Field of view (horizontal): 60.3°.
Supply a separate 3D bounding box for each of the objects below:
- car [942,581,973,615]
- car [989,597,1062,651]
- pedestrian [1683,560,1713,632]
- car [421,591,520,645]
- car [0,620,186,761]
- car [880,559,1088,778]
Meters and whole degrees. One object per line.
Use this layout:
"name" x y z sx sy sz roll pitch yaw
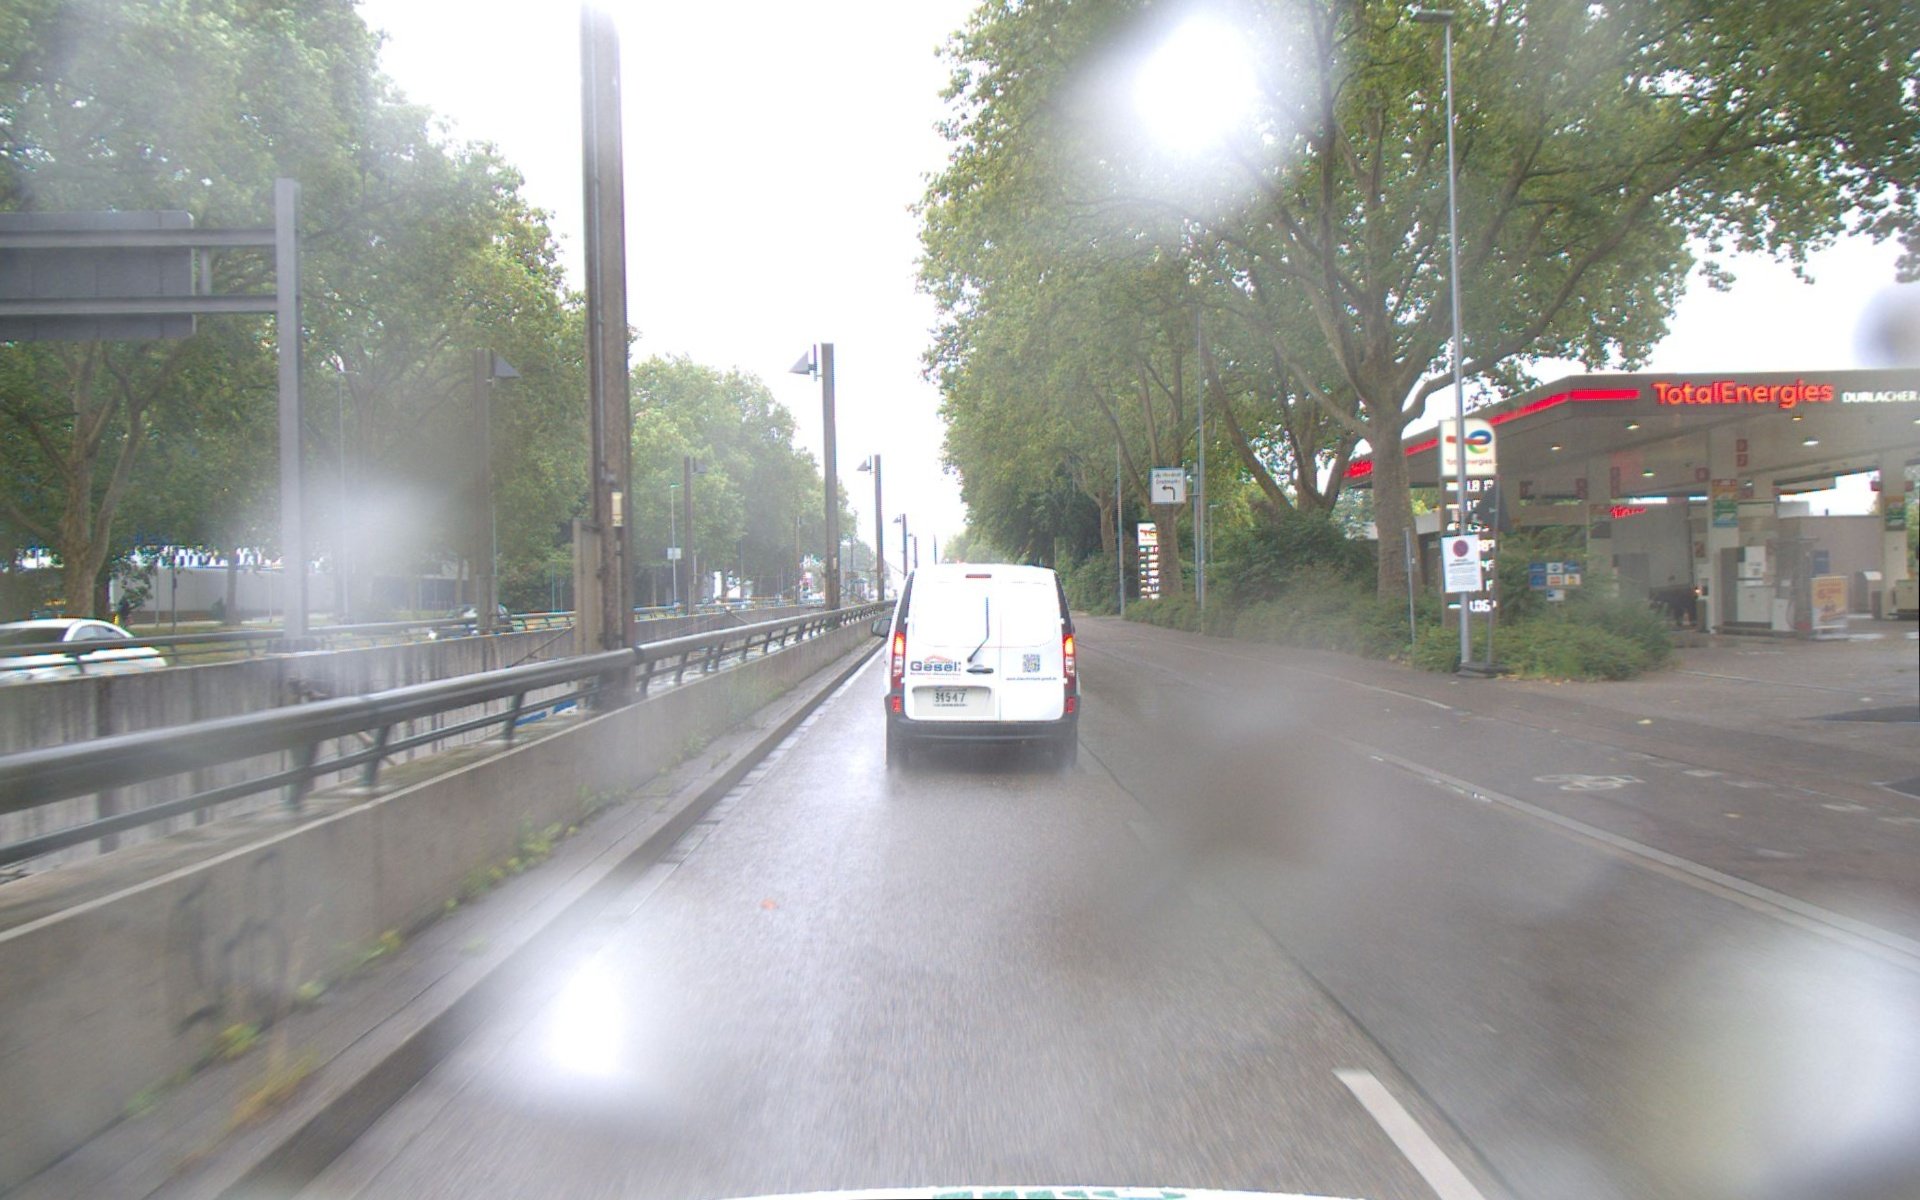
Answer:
"car" -0.140 -0.117 112.332 2.006 2.177 4.000 -1 0 1
"car" 2.072 0.766 53.583 1.954 1.612 3.997 -2 0 -3
"pedestrian" 18.363 -0.106 41.151 0.542 1.755 0.726 -2 0 18
"car" -15.479 0.539 52.481 1.868 1.598 4.000 -2 0 0
"car" -12.365 1.141 22.155 1.953 1.661 4.578 -1 0 -2
"car" 0.151 0.570 15.884 1.720 1.808 3.999 1 0 -2
